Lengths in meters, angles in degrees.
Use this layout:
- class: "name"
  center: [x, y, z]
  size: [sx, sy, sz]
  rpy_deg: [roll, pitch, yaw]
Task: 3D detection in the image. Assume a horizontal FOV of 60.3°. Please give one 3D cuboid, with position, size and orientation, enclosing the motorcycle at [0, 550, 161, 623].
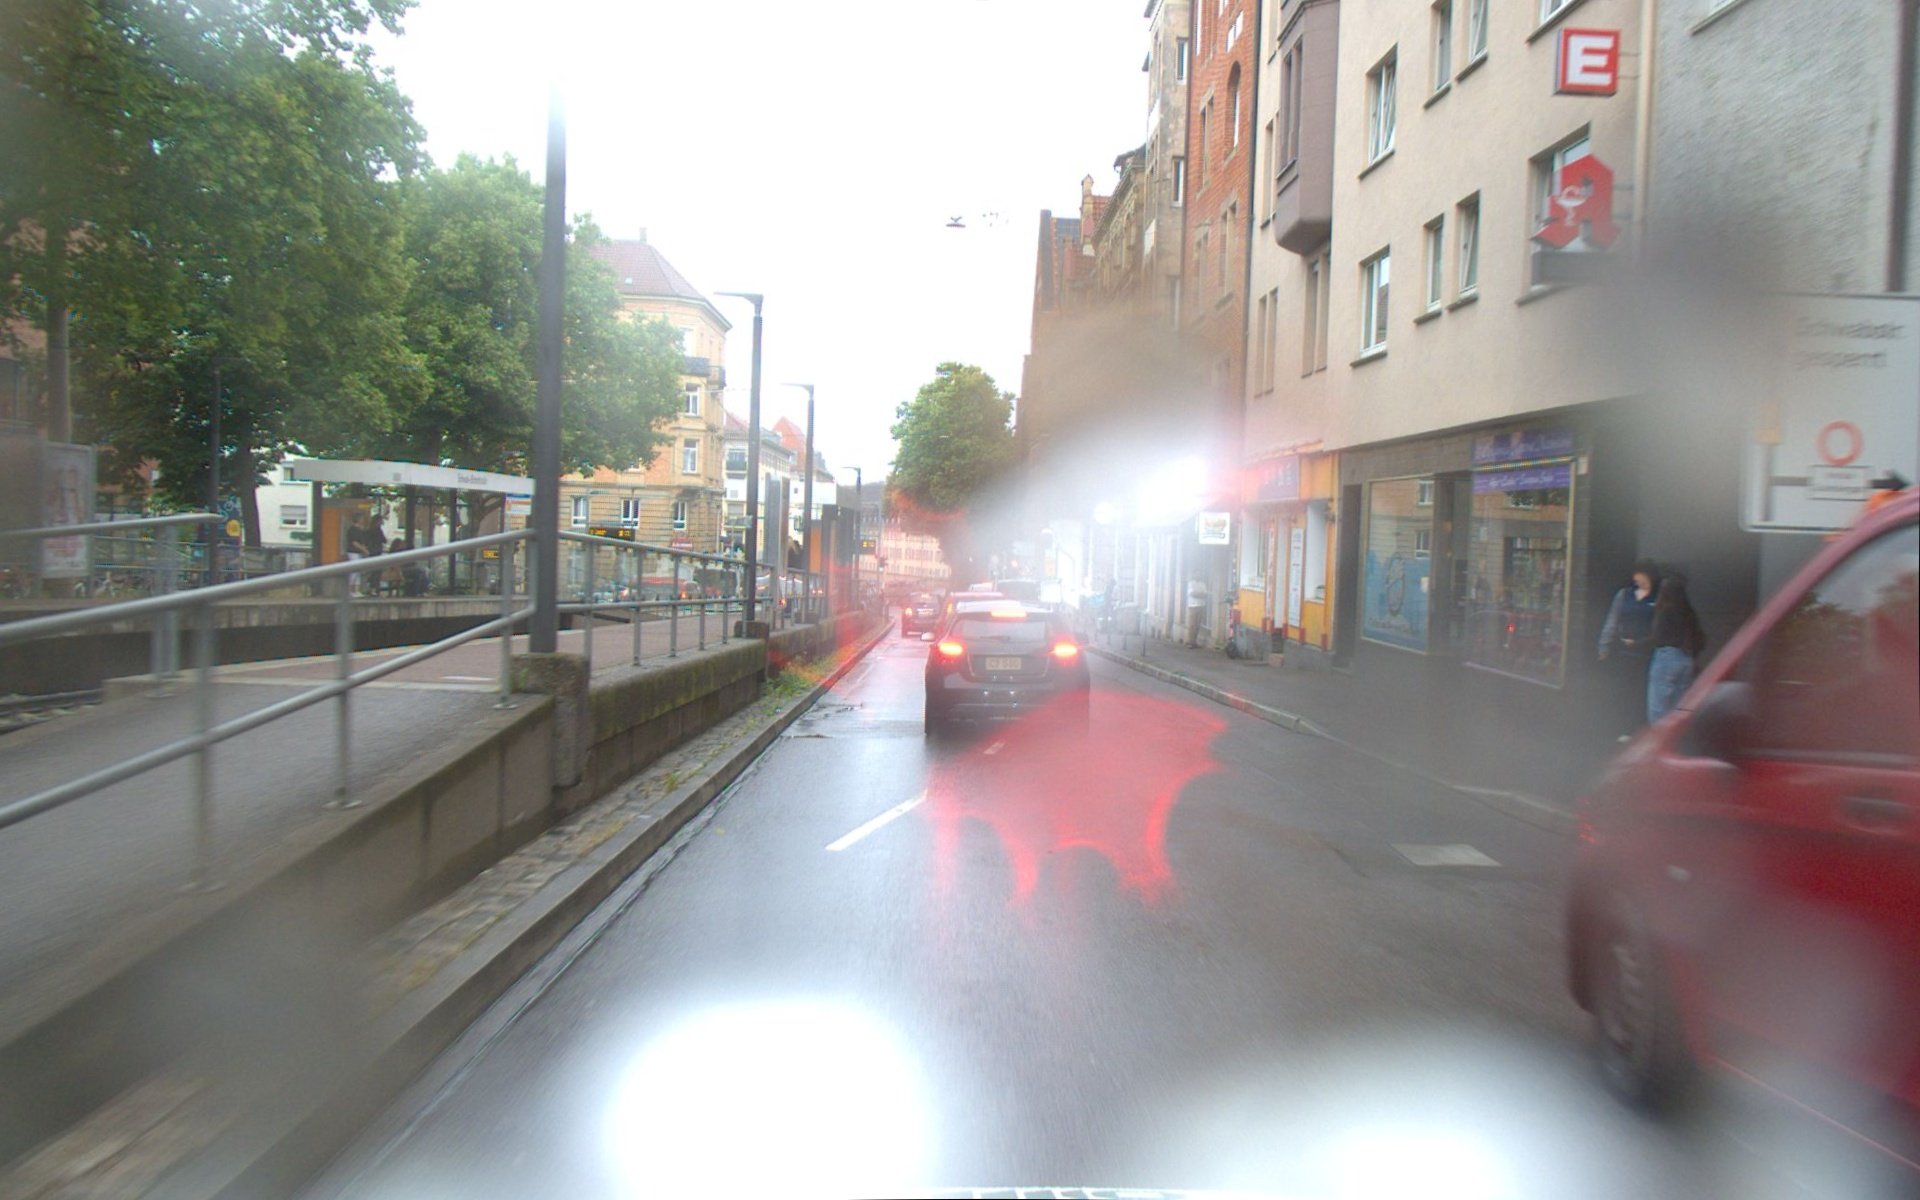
- class: "motorcycle"
  center: [-21.683, -0.333, 40.358]
  size: [3.787, 1.633, 1.006]
  rpy_deg: [2, 0, -3]

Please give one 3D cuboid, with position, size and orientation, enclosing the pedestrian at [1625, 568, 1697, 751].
- class: "pedestrian"
  center: [6.554, 0.551, 15.473]
  size: [0.471, 1.674, 0.331]
  rpy_deg: [2, 0, 3]

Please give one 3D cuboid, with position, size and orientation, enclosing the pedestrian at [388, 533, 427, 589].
- class: "pedestrian"
  center: [-12.870, -0.904, 38.537]
  size: [0.689, 1.262, 0.564]
  rpy_deg: [2, 1, -3]

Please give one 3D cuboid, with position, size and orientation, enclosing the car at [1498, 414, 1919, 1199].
- class: "car"
  center: [2.988, 0.565, 3.216]
  size: [1.935, 1.870, 5.243]
  rpy_deg: [1, 1, -3]

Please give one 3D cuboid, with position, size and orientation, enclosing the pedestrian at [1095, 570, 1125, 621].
- class: "pedestrian"
  center: [5.317, -0.153, 58.601]
  size: [0.822, 1.784, 0.682]
  rpy_deg: [0, 0, -22]

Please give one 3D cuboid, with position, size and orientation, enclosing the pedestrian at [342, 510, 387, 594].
- class: "pedestrian"
  center: [-12.138, -0.979, 33.697]
  size: [0.673, 1.669, 0.564]
  rpy_deg: [2, 1, -3]

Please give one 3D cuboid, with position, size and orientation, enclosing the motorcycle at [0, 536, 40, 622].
- class: "motorcycle"
  center: [-21.982, -0.512, 35.508]
  size: [3.787, 1.804, 1.006]
  rpy_deg: [2, 0, -3]

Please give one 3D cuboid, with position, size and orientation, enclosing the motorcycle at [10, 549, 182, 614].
- class: "motorcycle"
  center: [-22.086, -0.481, 42.350]
  size: [3.787, 1.513, 1.006]
  rpy_deg: [2, 0, -3]

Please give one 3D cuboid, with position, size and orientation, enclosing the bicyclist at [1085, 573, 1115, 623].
- class: "bicyclist"
  center: [4.787, -0.080, 56.703]
  size: [0.842, 1.686, 0.622]
  rpy_deg: [0, 0, -41]

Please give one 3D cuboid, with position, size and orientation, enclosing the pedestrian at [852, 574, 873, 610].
- class: "pedestrian"
  center: [-4.858, -0.399, 82.584]
  size: [0.735, 1.754, 0.729]
  rpy_deg: [1, 1, -44]

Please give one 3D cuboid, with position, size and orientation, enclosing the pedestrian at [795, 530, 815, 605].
- class: "pedestrian"
  center: [-3.379, -0.707, 36.012]
  size: [0.401, 1.633, 0.450]
  rpy_deg: [1, 0, -7]

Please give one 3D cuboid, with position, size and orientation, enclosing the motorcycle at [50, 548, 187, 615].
- class: "motorcycle"
  center: [-22.105, -0.487, 43.483]
  size: [2.997, 1.656, 1.006]
  rpy_deg: [2, 0, -3]

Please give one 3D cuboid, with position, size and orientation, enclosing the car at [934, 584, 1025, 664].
- class: "car"
  center: [0.354, 0.459, 34.294]
  size: [1.646, 1.515, 3.611]
  rpy_deg: [1, 1, -3]

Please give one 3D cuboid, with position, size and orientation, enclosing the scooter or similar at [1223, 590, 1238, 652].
- class: "scooter or similar"
  center: [5.659, 0.427, 34.594]
  size: [0.252, 1.243, 1.196]
  rpy_deg: [2, 1, 8]

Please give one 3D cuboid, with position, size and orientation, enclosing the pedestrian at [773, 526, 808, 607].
- class: "pedestrian"
  center: [-3.465, -0.689, 33.844]
  size: [0.485, 1.633, 0.637]
  rpy_deg: [1, 0, 15]

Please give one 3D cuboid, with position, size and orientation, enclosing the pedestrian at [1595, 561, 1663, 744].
- class: "pedestrian"
  center: [6.556, 0.509, 16.227]
  size: [0.451, 1.750, 0.517]
  rpy_deg: [2, 0, 7]

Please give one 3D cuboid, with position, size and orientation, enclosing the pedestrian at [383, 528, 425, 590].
- class: "pedestrian"
  center: [-12.743, -0.944, 37.916]
  size: [0.762, 1.386, 0.564]
  rpy_deg: [2, 1, -3]

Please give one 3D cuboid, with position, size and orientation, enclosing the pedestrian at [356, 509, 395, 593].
- class: "pedestrian"
  center: [-12.417, -1.049, 35.166]
  size: [0.551, 1.745, 0.705]
  rpy_deg: [2, 1, -3]

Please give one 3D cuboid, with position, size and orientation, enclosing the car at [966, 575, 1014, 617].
- class: "car"
  center: [1.382, -0.195, 78.321]
  size: [1.895, 1.863, 4.278]
  rpy_deg: [2, 1, -4]

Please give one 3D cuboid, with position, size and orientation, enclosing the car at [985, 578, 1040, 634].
- class: "car"
  center: [1.950, 0.185, 62.483]
  size: [1.881, 1.969, 4.685]
  rpy_deg: [1, 1, 0]

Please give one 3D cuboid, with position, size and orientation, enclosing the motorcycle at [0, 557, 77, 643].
- class: "motorcycle"
  center: [-21.957, -0.042, 36.988]
  size: [3.787, 1.847, 1.006]
  rpy_deg: [2, 0, -3]

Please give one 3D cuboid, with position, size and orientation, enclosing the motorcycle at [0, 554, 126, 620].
- class: "motorcycle"
  center: [-21.852, -0.330, 39.001]
  size: [3.787, 1.431, 1.006]
  rpy_deg: [2, 0, -3]

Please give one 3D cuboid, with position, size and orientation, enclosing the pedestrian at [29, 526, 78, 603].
- class: "pedestrian"
  center: [-24.619, -0.963, 44.929]
  size: [0.717, 2.049, 0.981]
  rpy_deg: [2, 0, 1]

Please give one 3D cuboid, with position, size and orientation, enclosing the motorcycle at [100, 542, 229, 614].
- class: "motorcycle"
  center: [-21.743, -0.605, 45.269]
  size: [2.975, 1.847, 0.993]
  rpy_deg: [2, 0, -3]

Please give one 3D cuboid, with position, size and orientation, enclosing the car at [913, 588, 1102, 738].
- class: "car"
  center: [0.475, 0.621, 18.693]
  size: [1.856, 1.414, 4.000]
  rpy_deg: [2, 1, 0]

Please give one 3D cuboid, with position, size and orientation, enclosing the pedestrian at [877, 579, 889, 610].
- class: "pedestrian"
  center: [-3.828, -0.272, 82.422]
  size: [0.521, 1.557, 0.436]
  rpy_deg: [1, 0, -9]

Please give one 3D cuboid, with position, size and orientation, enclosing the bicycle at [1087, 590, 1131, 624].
- class: "bicycle"
  center: [5.081, 0.222, 56.344]
  size: [1.674, 1.135, 0.458]
  rpy_deg: [0, 0, -41]

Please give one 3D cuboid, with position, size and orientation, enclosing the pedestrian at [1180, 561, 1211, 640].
- class: "pedestrian"
  center: [5.653, 0.021, 39.708]
  size: [0.566, 1.862, 0.563]
  rpy_deg: [-2, 0, -4]

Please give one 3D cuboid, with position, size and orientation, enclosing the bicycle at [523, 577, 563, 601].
- class: "bicycle"
  center: [-20.284, -0.529, 80.445]
  size: [1.838, 1.080, 0.516]
  rpy_deg: [1, 0, -13]
